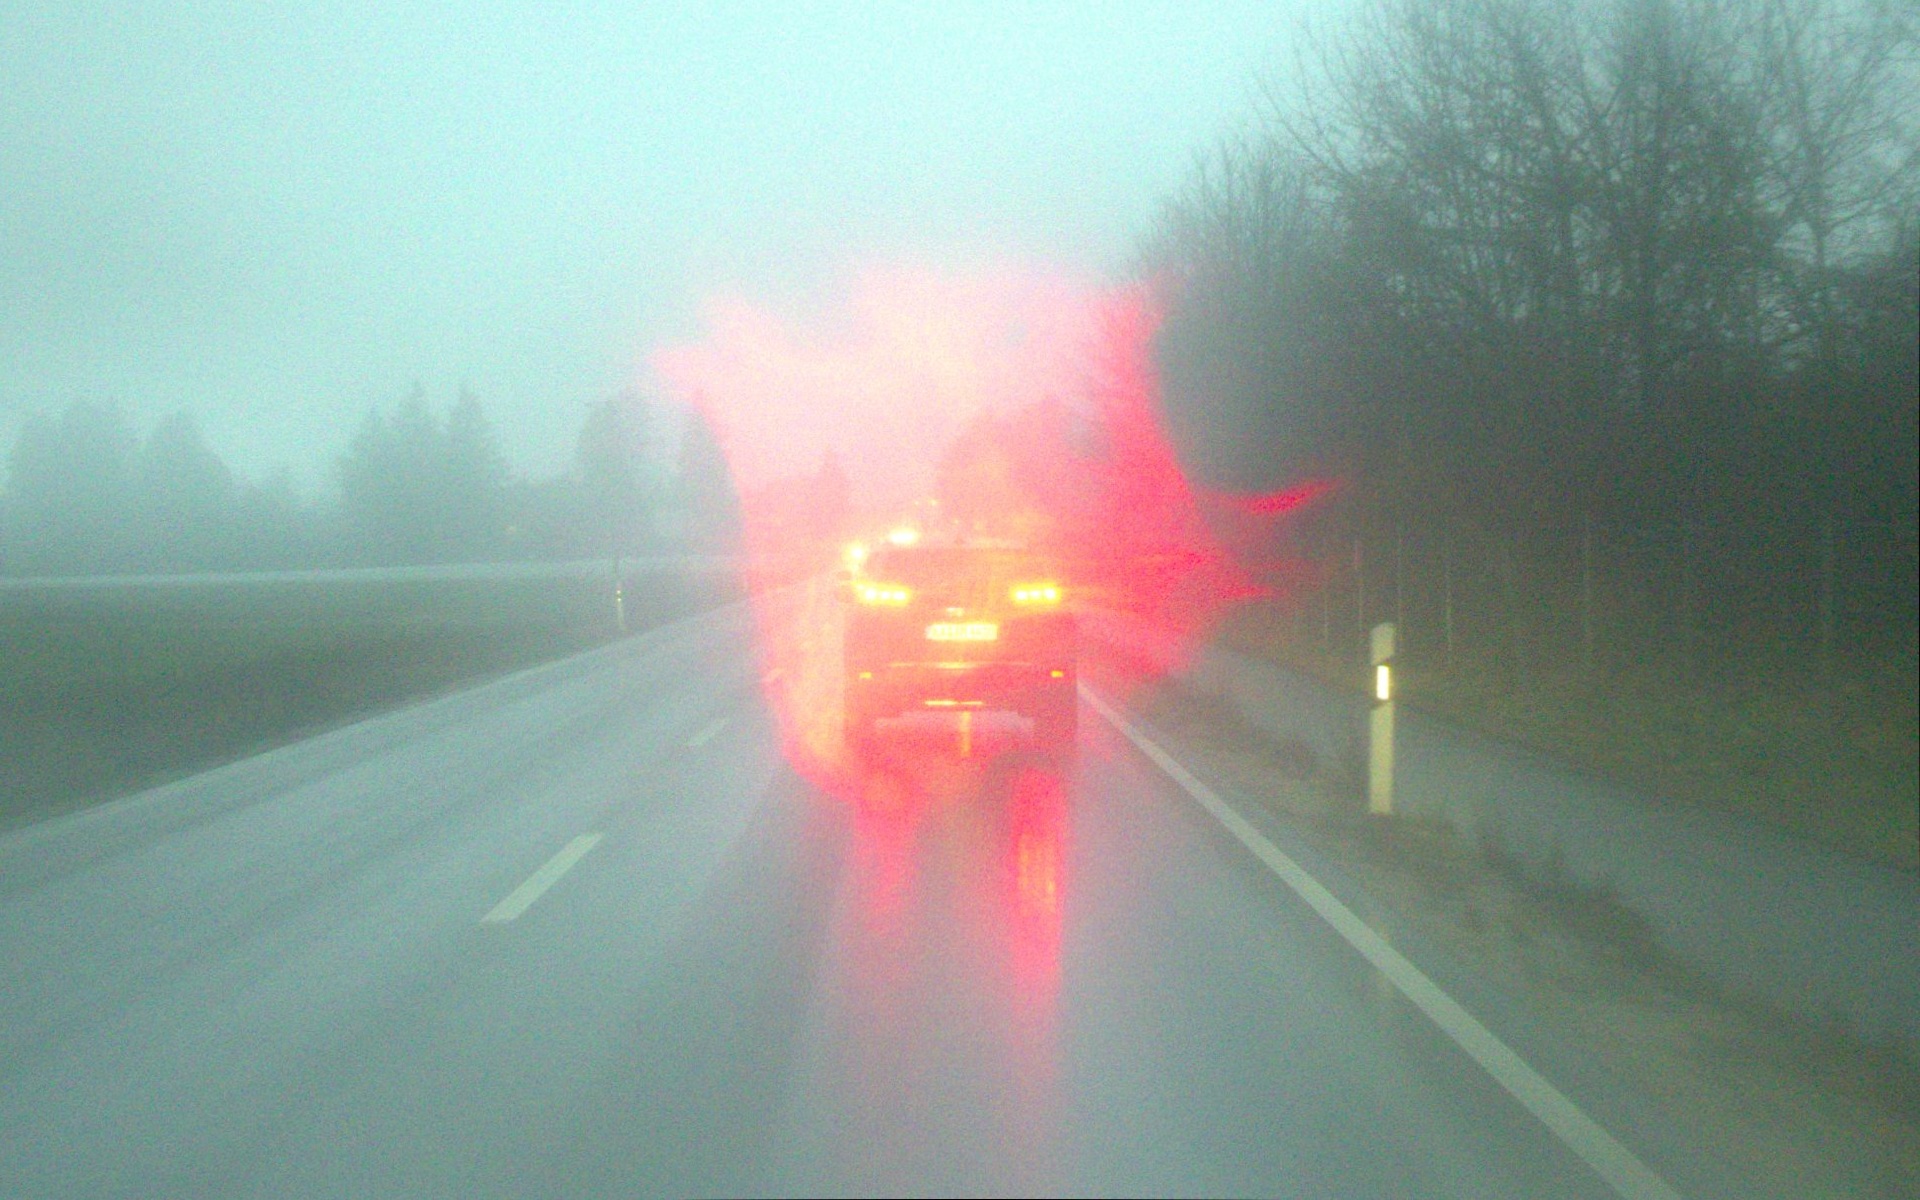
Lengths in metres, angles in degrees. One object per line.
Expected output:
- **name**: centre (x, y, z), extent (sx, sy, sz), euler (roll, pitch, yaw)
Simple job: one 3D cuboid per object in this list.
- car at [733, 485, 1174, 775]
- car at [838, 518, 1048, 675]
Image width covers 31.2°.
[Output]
- **car**: centre (-0.063, 0.139, 28.438), extent (3.164, 2.028, 6.852), euler (-1, 1, 0)
- **car**: centre (-0.248, -0.126, 49.288), extent (2.756, 2.028, 6.591), euler (-1, 1, 0)
